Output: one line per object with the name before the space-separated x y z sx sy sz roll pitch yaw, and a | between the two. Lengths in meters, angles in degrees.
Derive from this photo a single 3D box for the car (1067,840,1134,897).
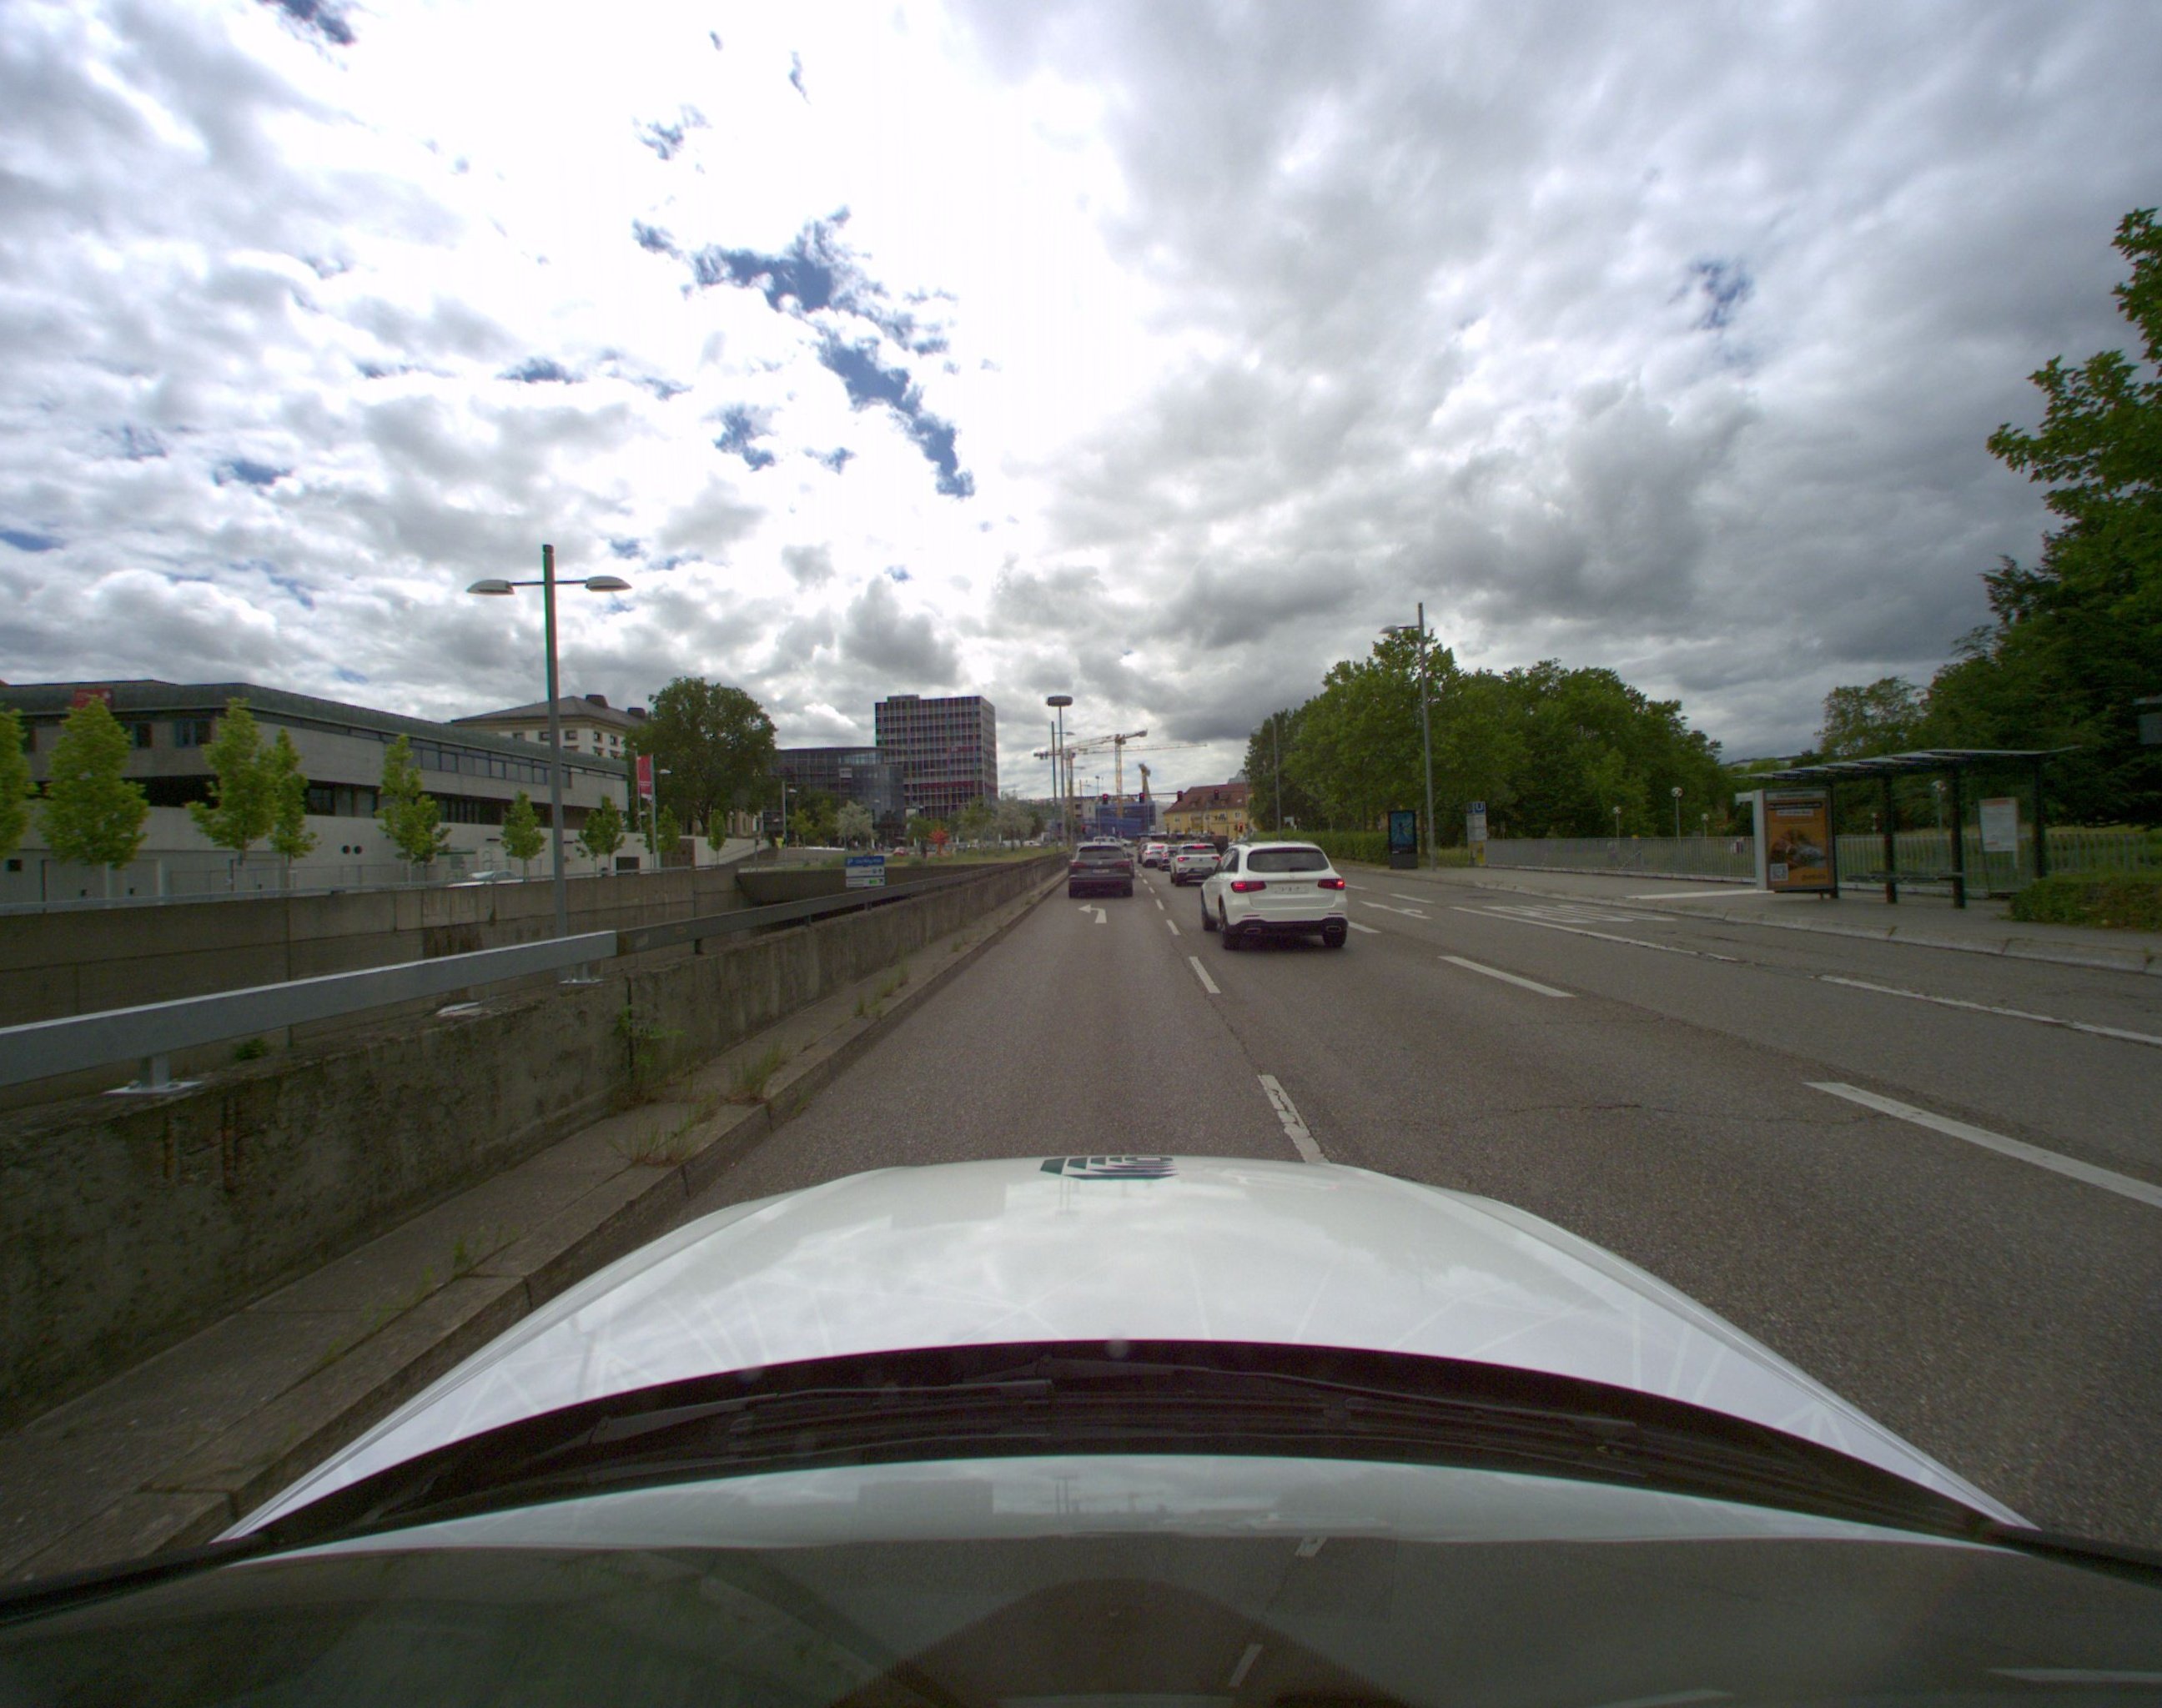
car | 0.633 0.397 25.687 1.944 1.651 4.002 0 1 2

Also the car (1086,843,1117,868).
car | 1.380 0.062 54.488 1.944 1.599 3.933 0 1 2

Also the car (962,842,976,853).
car | -22.959 -1.430 166.914 1.985 2.013 4.696 -2 2 3

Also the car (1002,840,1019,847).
car | -17.666 -2.617 205.394 3.948 1.568 1.848 -1 -1 32

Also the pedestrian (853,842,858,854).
pedestrian | -40.566 -1.087 146.632 0.740 2.013 0.788 -3 2 -18

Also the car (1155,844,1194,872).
car | 5.191 0.200 45.604 1.918 1.432 4.494 -1 0 3

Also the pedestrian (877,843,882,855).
pedestrian | -37.111 -0.926 149.794 0.740 2.013 0.788 -3 2 -18

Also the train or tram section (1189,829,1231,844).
train or tram section | 27.623 -3.675 174.371 8.836 3.009 2.613 -1 -1 40

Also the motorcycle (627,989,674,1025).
motorcycle | -17.260 6.115 32.698 0.683 1.098 2.051 -6 -3 2

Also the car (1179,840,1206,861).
car | 9.292 -0.304 68.003 1.902 1.697 4.015 0 0 3

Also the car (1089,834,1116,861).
car | 1.660 -0.494 61.982 1.944 2.018 3.933 0 1 2

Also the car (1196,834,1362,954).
car | 3.102 0.559 13.718 1.918 1.653 4.494 -1 0 3

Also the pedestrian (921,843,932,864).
pedestrian | -15.117 -0.060 79.568 0.794 2.013 0.830 -3 1 -25

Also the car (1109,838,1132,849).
car | 7.681 -2.005 159.341 3.948 2.014 2.013 -1 -1 34

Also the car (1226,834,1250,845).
car | 32.035 -2.980 166.526 4.402 2.014 2.013 -1 -1 36

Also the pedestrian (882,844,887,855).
pedestrian | -36.571 -0.902 151.816 0.740 2.013 1.108 -3 2 -18

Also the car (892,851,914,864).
car | -26.669 0.497 122.313 2.167 1.854 4.736 -2 1 0

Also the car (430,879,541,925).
car | -27.515 2.161 37.793 1.986 1.763 4.002 -5 0 2

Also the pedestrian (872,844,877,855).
pedestrian | -38.037 -0.896 150.175 0.740 2.013 1.108 -3 2 -18

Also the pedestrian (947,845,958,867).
pedestrian | -12.415 0.179 78.825 0.857 2.013 0.629 -2 2 1

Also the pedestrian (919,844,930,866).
pedestrian | -15.120 0.082 78.663 0.794 2.013 0.830 -3 1 -25

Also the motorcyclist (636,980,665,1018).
motorcyclist | -17.283 5.827 32.675 0.667 1.352 0.718 -6 -3 1

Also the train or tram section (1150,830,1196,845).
train or tram section | 20.257 -3.604 180.448 10.295 3.009 2.613 -1 -1 39

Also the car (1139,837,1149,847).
car | 10.366 -1.999 134.693 1.612 1.627 4.003 0 -1 3

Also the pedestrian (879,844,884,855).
pedestrian | -37.406 -0.902 152.610 0.740 2.013 0.788 -3 2 -18

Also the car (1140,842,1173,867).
car | 4.801 0.014 52.345 1.918 1.529 4.494 -1 0 3

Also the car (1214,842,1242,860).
car | 12.447 -0.241 69.005 1.751 1.447 3.634 0 0 1

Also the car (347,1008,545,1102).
car | -16.195 5.084 21.090 1.769 1.489 4.146 -4 -3 1

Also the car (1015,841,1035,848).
car | -12.271 -2.053 178.338 4.060 1.610 1.841 -1 -1 37

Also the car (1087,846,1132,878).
car | 1.301 0.324 37.324 1.944 1.384 3.933 0 1 2

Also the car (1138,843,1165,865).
car | 5.266 -0.021 61.161 1.918 1.529 4.051 -1 0 3

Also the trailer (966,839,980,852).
trailer | -22.722 -1.829 172.023 2.029 2.604 5.512 0 1 2

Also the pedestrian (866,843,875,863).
pedestrian | -21.533 -0.103 83.328 0.729 2.012 0.628 -3 5 -5

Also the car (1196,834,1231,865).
car | 8.874 -0.315 54.908 1.902 2.013 4.015 0 0 3

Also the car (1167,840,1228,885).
car | 4.347 0.302 30.973 1.918 1.550 4.494 -1 0 3
